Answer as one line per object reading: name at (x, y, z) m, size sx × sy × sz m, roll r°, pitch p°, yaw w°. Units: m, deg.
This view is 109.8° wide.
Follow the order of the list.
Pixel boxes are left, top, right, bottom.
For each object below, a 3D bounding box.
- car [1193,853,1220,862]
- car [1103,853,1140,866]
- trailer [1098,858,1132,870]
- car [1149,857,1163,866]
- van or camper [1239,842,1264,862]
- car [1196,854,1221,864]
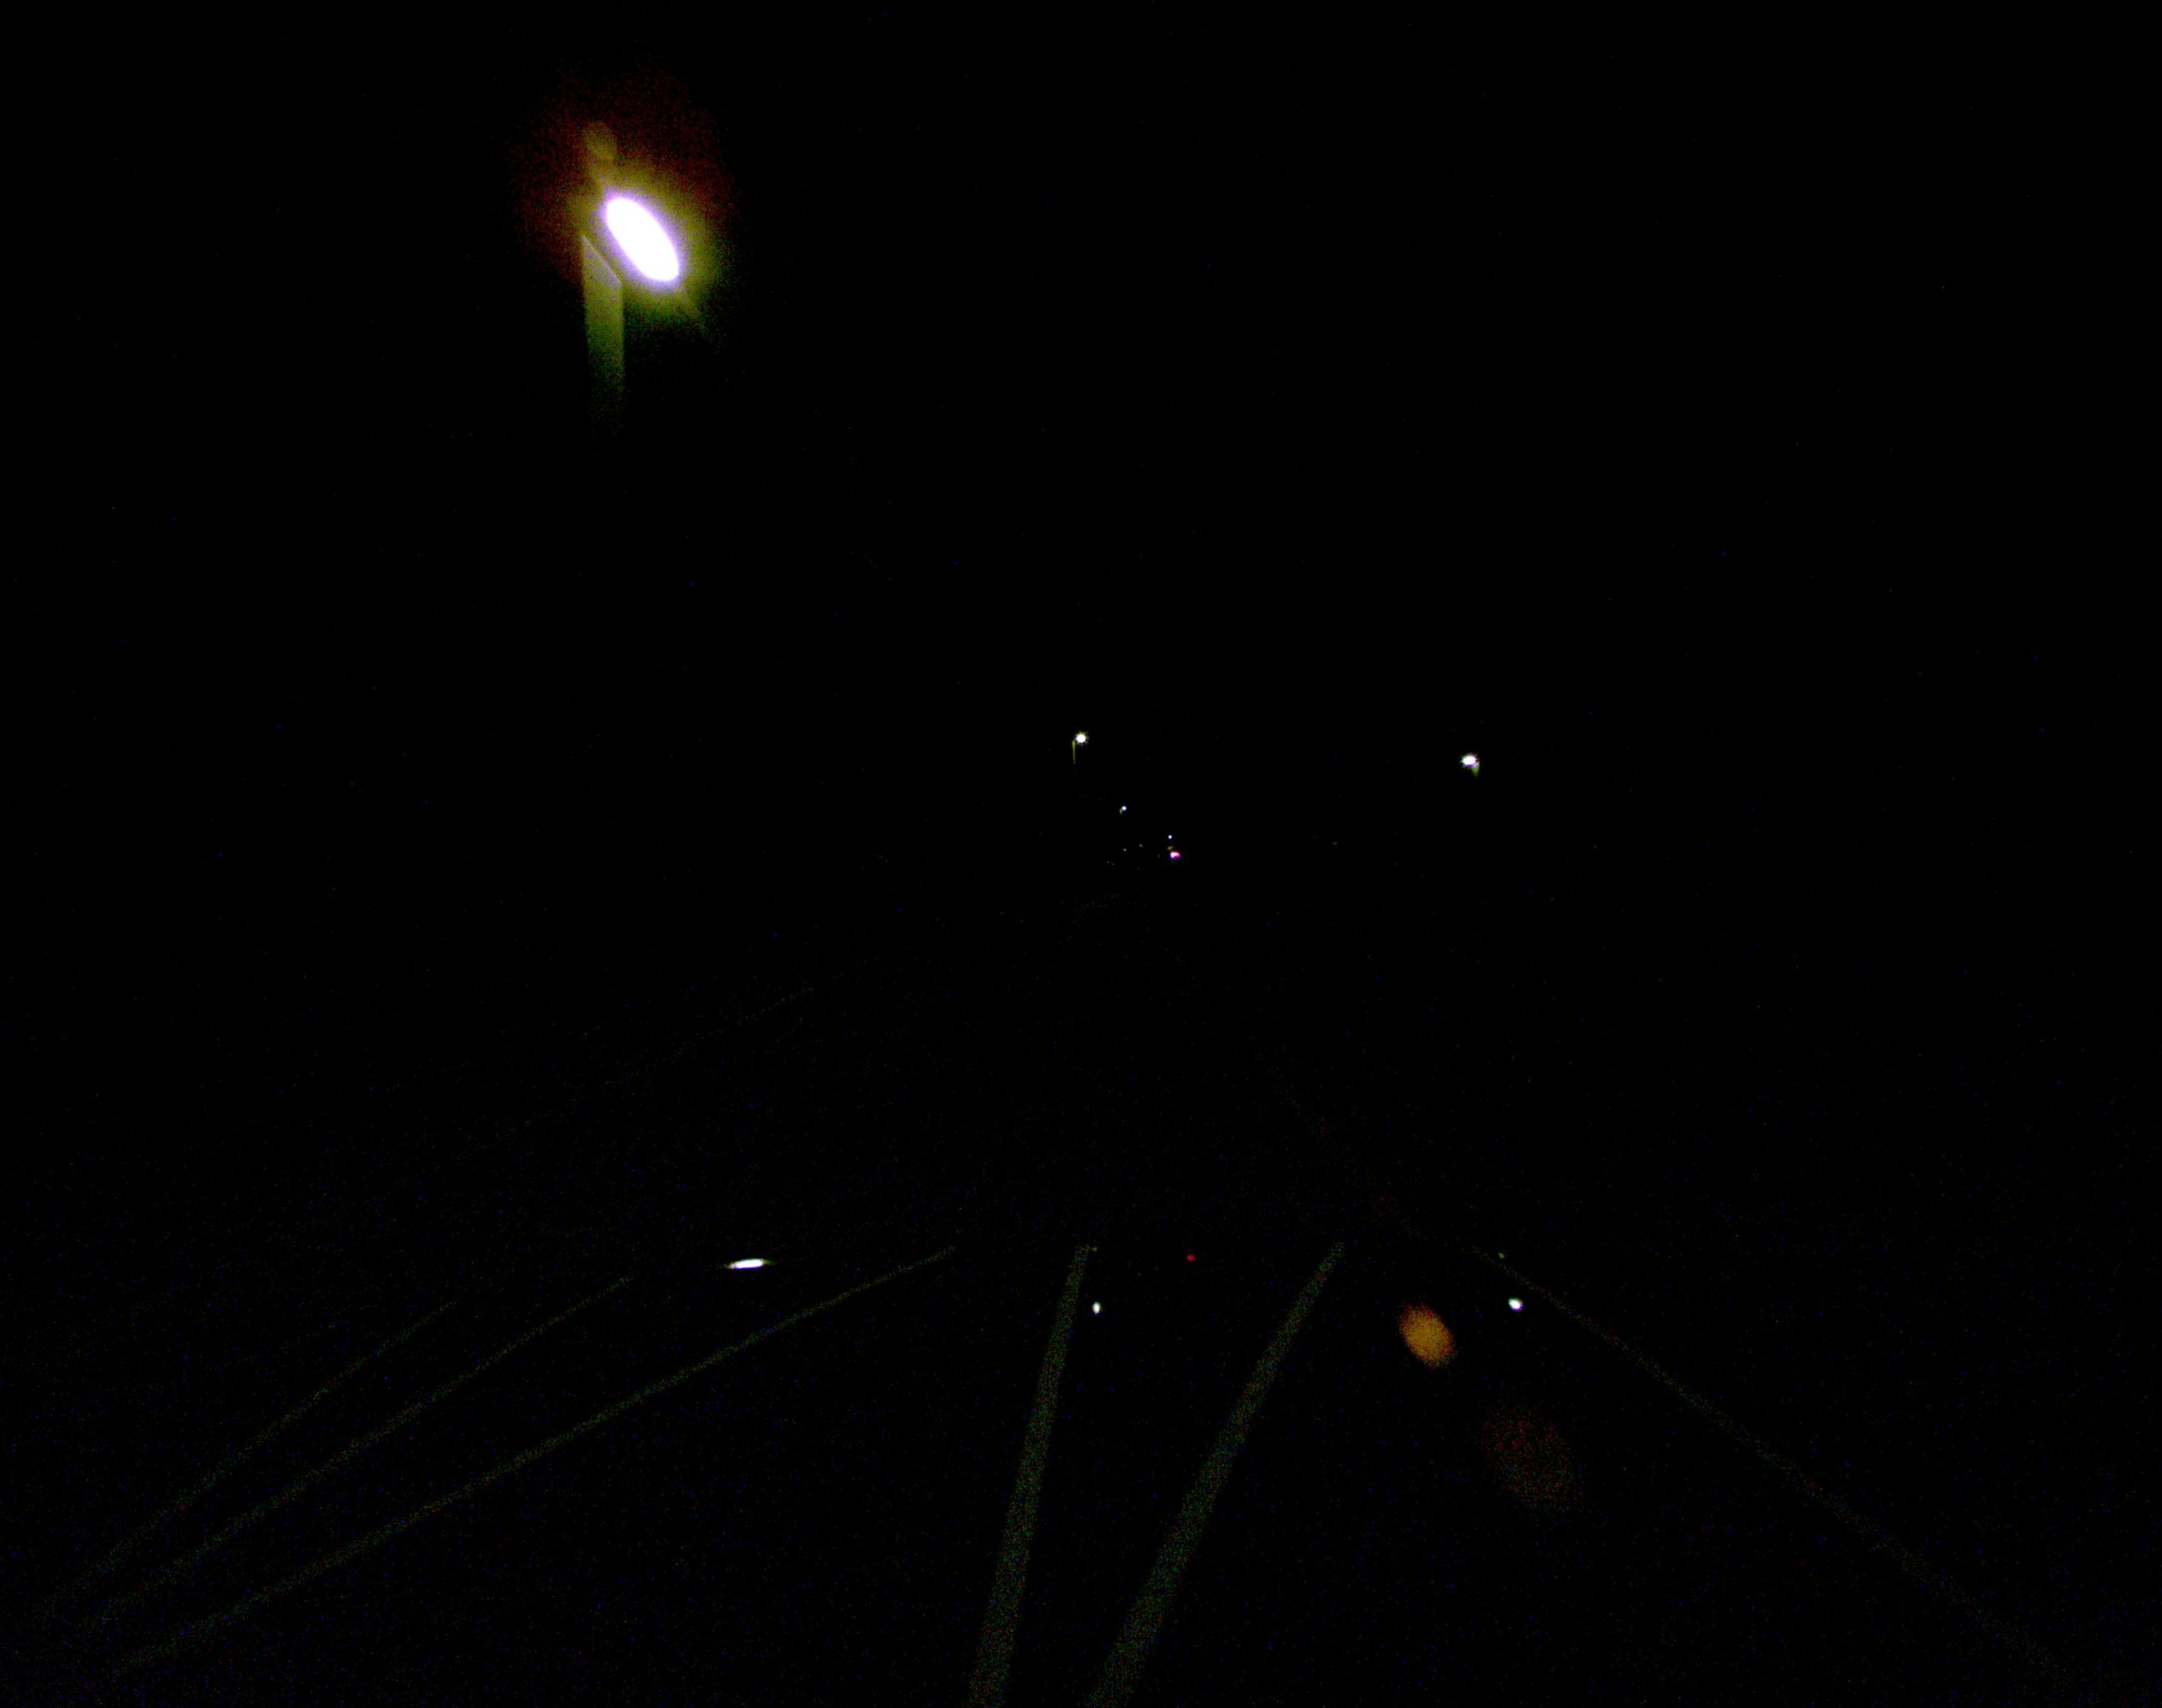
car at (22.410, 0.671, 135.856) m, size 4.326 × 1.552 × 2.028 m, roll -1°, pitch -1°, yaw -9°
car at (3.990, 0.530, 75.108) m, size 3.401 × 1.224 × 1.724 m, roll 0°, pitch -1°, yaw -4°
trailer at (3.539, 1.042, 79.491) m, size 3.441 × 0.996 × 1.954 m, roll -4°, pitch 0°, yaw -2°
car at (12.986, 1.260, 131.604) m, size 1.754 × 1.460 × 4.008 m, roll -2°, pitch -1°, yaw -3°
van or camper at (25.332, -0.244, 113.137) m, size 2.080 × 2.730 × 5.928 m, roll -2°, pitch -1°, yaw -3°
car at (22.337, 0.846, 133.281) m, size 3.997 × 1.608 × 2.000 m, roll -1°, pitch -1°, yaw 1°
